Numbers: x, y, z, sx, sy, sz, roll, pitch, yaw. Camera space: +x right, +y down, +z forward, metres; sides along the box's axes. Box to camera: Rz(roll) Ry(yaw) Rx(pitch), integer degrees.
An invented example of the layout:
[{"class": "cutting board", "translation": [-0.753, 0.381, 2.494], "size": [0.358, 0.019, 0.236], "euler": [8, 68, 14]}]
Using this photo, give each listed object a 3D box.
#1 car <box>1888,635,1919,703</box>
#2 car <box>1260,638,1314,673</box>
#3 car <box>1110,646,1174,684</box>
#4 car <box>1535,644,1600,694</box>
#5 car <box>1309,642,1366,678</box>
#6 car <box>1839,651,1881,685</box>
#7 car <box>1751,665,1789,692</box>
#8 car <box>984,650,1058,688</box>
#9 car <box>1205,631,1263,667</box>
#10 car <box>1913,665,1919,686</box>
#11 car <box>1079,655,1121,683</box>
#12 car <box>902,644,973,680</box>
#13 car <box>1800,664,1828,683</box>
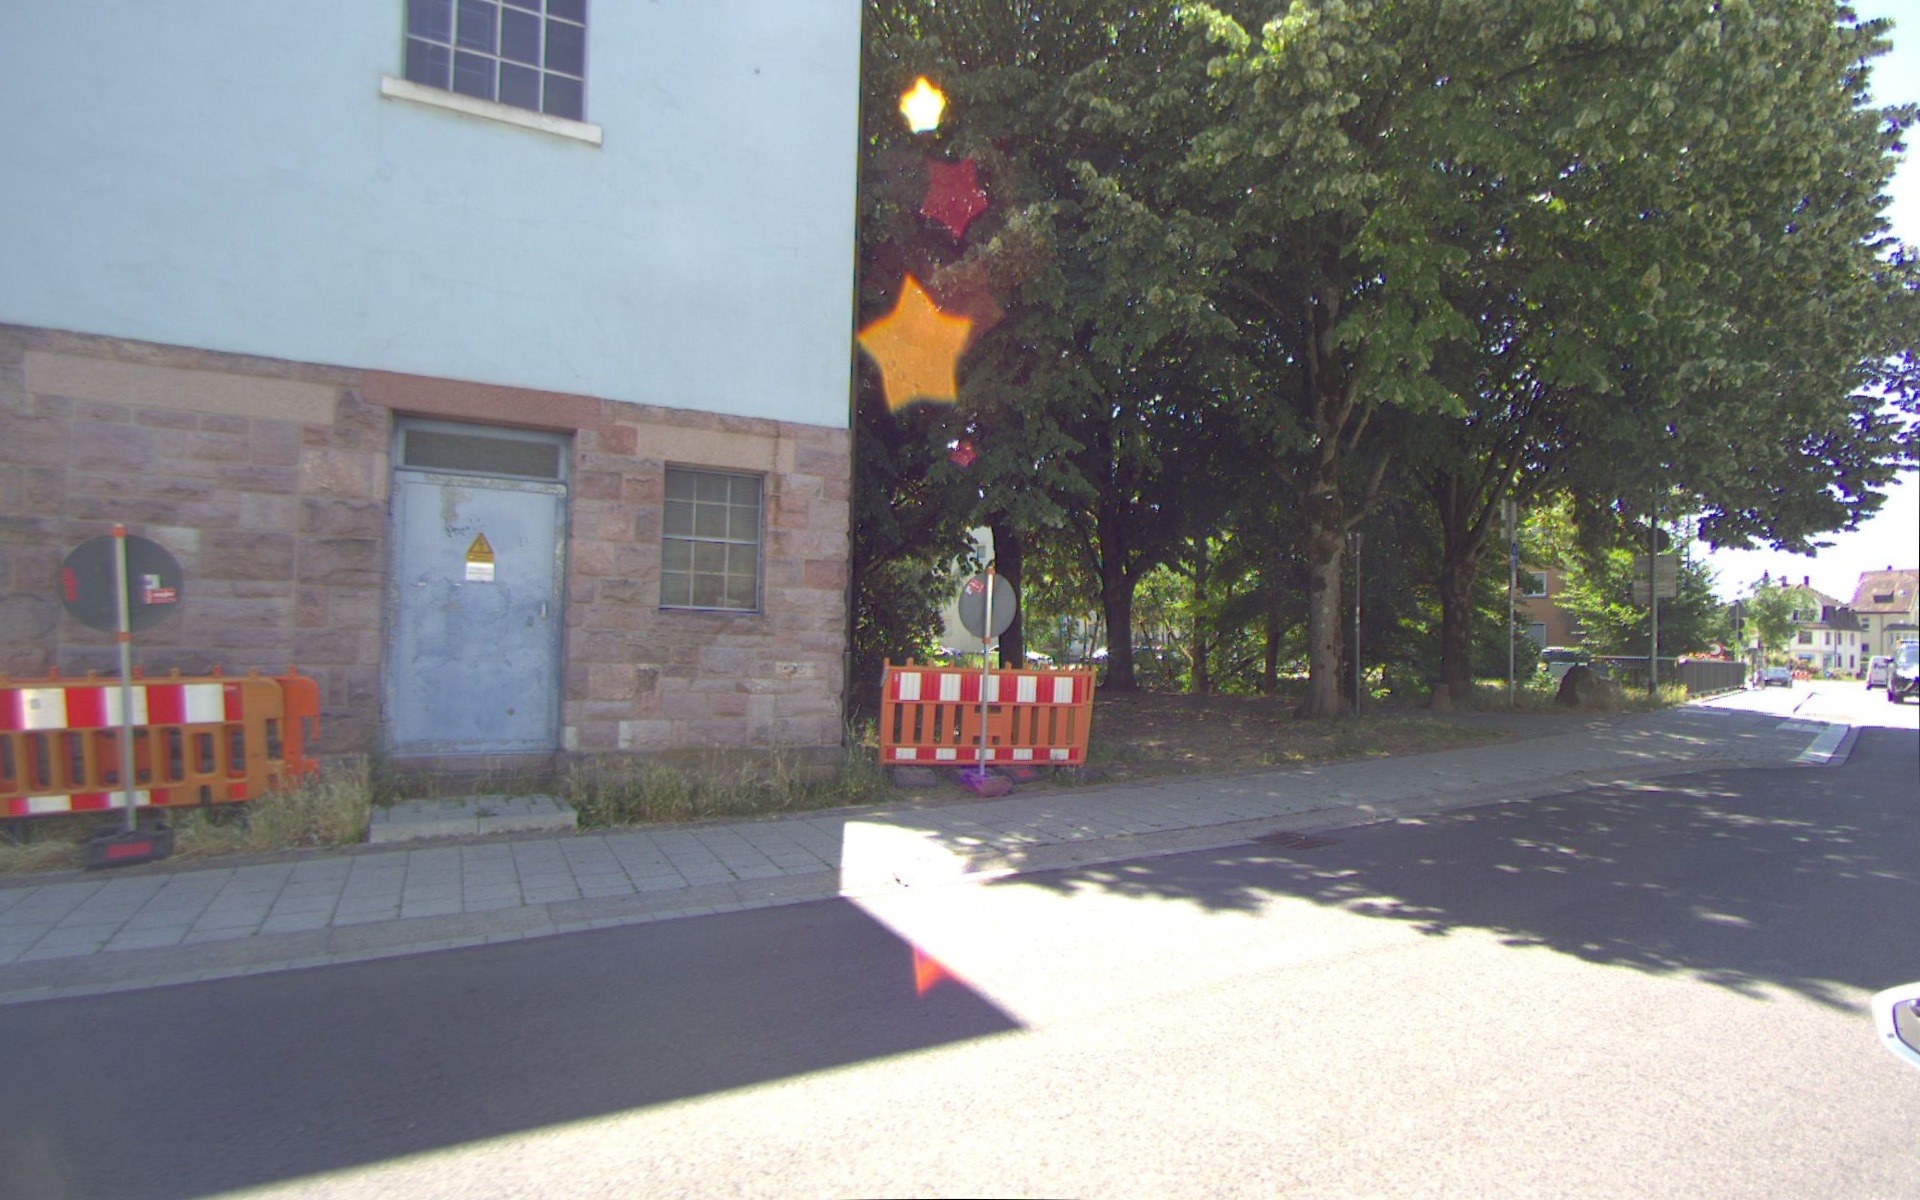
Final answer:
[{"class": "car", "translation": [27.209, 1.907, 28.102], "size": [1.723, 1.795, 4.312], "euler": [-2, -4, 43]}, {"class": "car", "translation": [20.561, 3.499, 63.095], "size": [1.969, 2.040, 3.985], "euler": [0, -3, 38]}, {"class": "car", "translation": [10.392, 3.662, 57.162], "size": [1.969, 2.040, 3.984], "euler": [0, -2, 38]}, {"class": "car", "translation": [26.665, 2.962, 44.026], "size": [1.969, 2.040, 3.984], "euler": [0, -2, 38]}, {"class": "car", "translation": [22.864, 3.594, 60.790], "size": [1.971, 2.040, 3.980], "euler": [0, -2, 41]}, {"class": "car", "translation": [69.025, 5.176, 77.108], "size": [2.218, 2.374, 4.830], "euler": [1, -1, 40]}, {"class": "car", "translation": [56.568, 5.458, 70.111], "size": [1.970, 1.681, 3.982], "euler": [3, -1, 40]}, {"class": "car", "translation": [3.607, 4.046, 59.547], "size": [3.939, 2.040, 1.991], "euler": [1, -1, 40]}, {"class": "car", "translation": [16.707, 2.992, 61.126], "size": [1.969, 2.040, 3.985], "euler": [0, -3, 38]}, {"class": "car", "translation": [70.053, 5.480, 72.150], "size": [1.970, 1.410, 4.309], "euler": [0, -1, 39]}, {"class": "car", "translation": [9.591, 4.715, 68.730], "size": [1.961, 1.706, 3.999], "euler": [1, -1, 22]}, {"class": "car", "translation": [-1.421, 3.863, 62.976], "size": [3.926, 2.040, 1.998], "euler": [1, -1, 27]}, {"class": "car", "translation": [82.215, 7.072, 96.776], "size": [1.970, 1.681, 3.982], "euler": [3, -1, 40]}]
